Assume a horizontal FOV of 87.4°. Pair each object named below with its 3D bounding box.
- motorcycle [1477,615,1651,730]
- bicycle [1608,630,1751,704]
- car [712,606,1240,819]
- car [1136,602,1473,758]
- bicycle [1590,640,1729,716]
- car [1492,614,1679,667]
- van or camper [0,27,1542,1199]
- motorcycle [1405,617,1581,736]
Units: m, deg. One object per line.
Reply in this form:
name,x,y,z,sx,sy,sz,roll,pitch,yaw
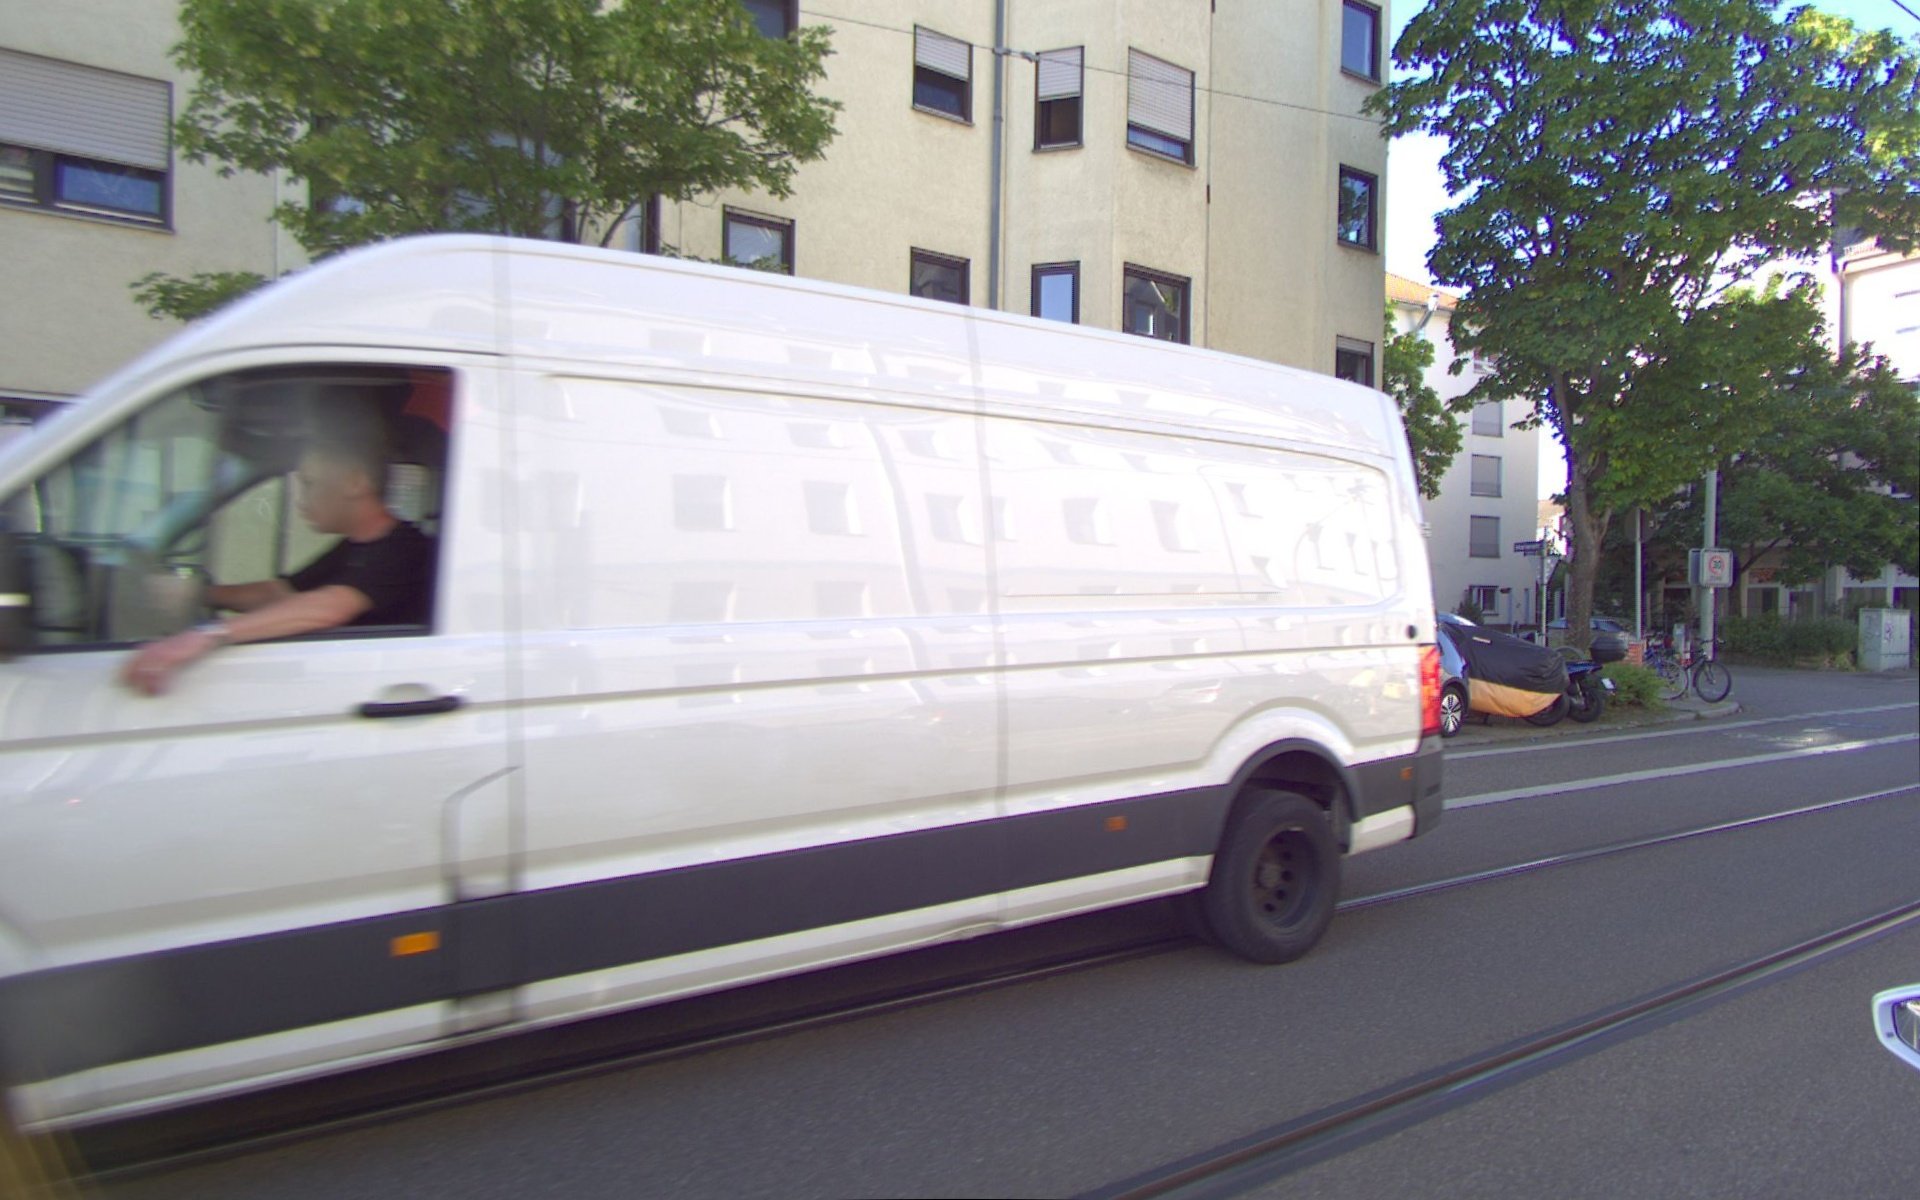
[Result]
motorcycle,8.391,0.951,14.028,0.714,1.466,1.955,1,0,-36
bicycle,11.913,1.075,16.702,0.588,1.099,1.869,1,0,-28
car,0.247,0.869,9.351,4.676,1.563,1.757,1,0,-29
car,4.199,0.837,12.031,4.086,1.563,1.724,1,0,-34
bicycle,11.377,1.243,16.409,0.588,1.099,1.798,1,0,-28
car,18.447,1.161,29.888,1.691,1.406,4.541,1,-1,-25
van or camper,-0.711,0.168,4.119,6.754,2.587,2.358,1,0,-31
motorcycle,7.224,0.984,13.691,0.828,1.466,1.955,1,0,-36
